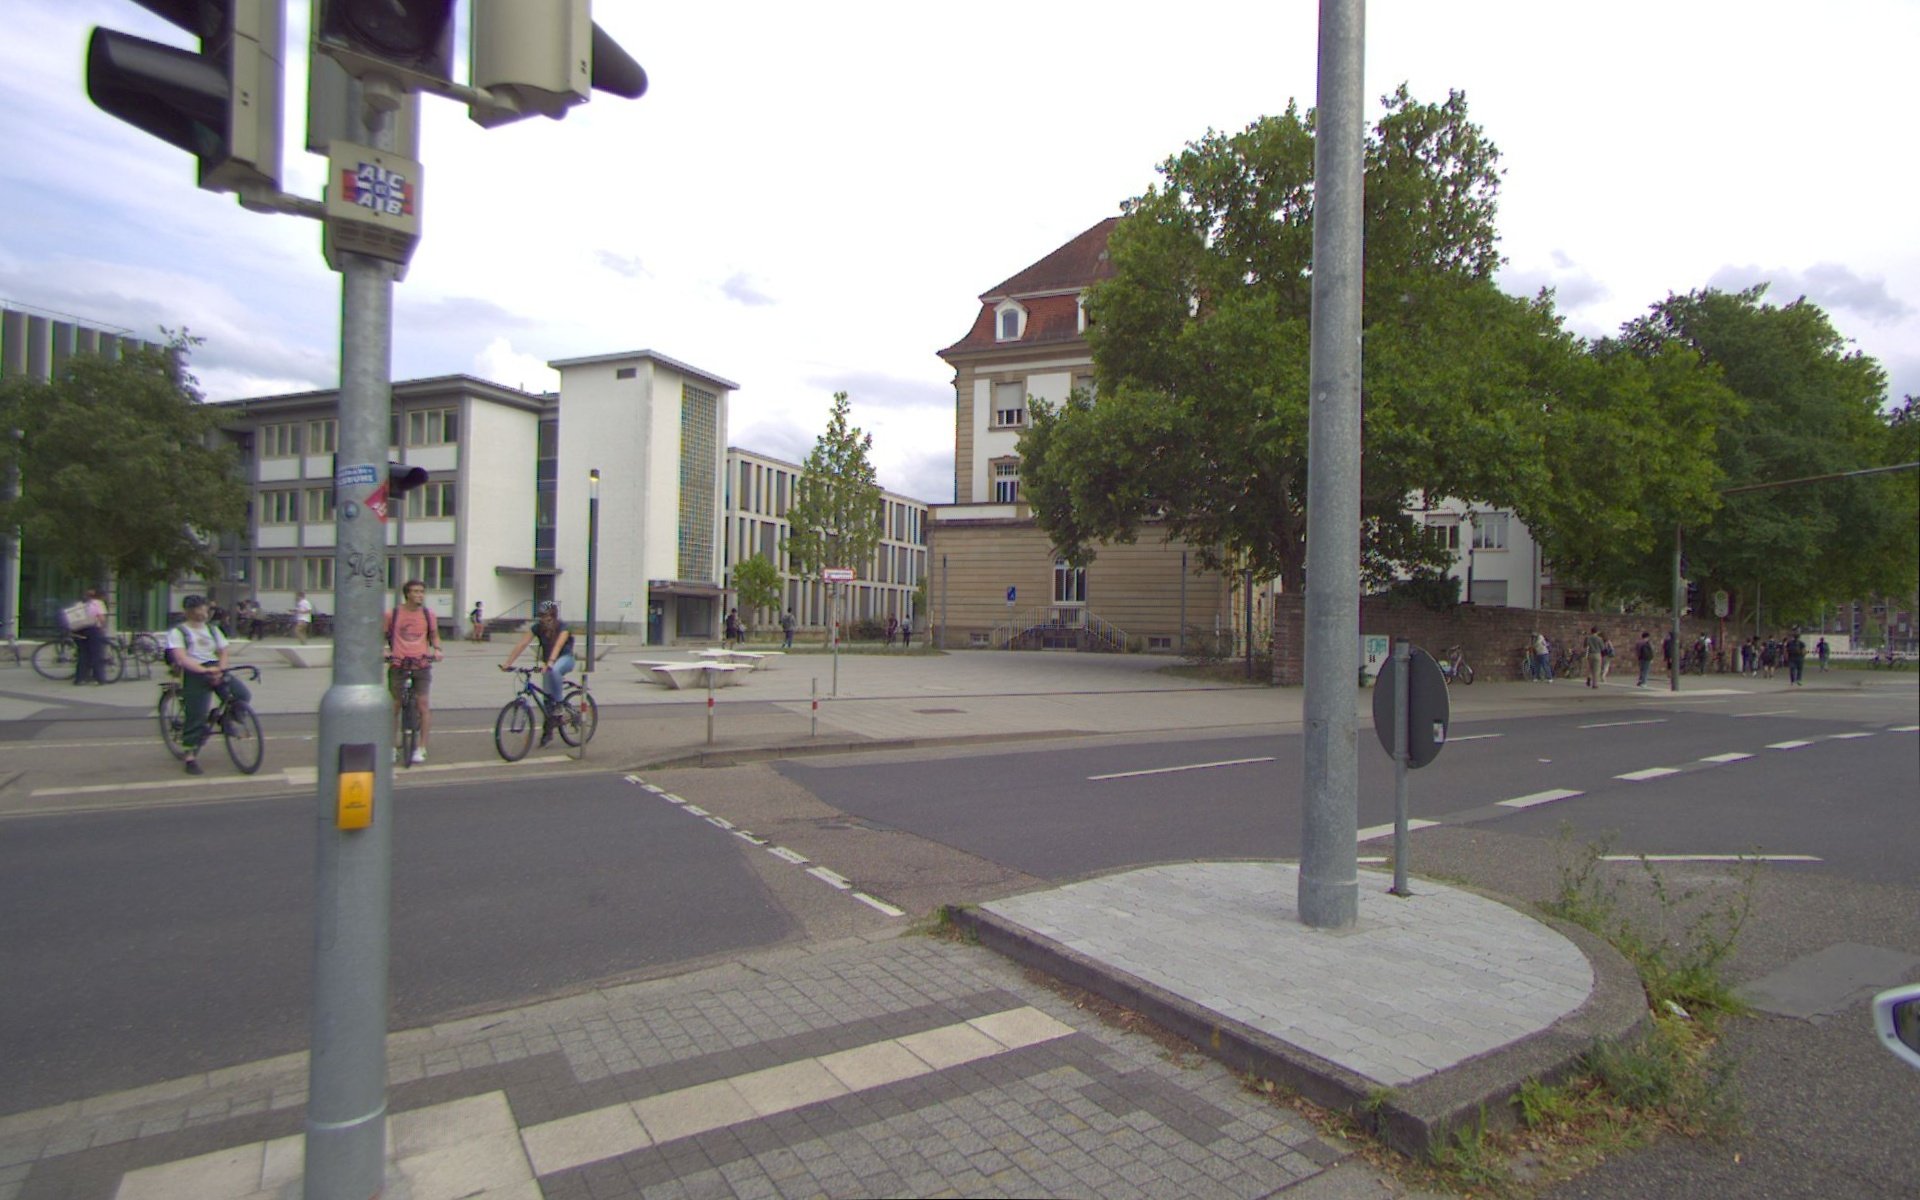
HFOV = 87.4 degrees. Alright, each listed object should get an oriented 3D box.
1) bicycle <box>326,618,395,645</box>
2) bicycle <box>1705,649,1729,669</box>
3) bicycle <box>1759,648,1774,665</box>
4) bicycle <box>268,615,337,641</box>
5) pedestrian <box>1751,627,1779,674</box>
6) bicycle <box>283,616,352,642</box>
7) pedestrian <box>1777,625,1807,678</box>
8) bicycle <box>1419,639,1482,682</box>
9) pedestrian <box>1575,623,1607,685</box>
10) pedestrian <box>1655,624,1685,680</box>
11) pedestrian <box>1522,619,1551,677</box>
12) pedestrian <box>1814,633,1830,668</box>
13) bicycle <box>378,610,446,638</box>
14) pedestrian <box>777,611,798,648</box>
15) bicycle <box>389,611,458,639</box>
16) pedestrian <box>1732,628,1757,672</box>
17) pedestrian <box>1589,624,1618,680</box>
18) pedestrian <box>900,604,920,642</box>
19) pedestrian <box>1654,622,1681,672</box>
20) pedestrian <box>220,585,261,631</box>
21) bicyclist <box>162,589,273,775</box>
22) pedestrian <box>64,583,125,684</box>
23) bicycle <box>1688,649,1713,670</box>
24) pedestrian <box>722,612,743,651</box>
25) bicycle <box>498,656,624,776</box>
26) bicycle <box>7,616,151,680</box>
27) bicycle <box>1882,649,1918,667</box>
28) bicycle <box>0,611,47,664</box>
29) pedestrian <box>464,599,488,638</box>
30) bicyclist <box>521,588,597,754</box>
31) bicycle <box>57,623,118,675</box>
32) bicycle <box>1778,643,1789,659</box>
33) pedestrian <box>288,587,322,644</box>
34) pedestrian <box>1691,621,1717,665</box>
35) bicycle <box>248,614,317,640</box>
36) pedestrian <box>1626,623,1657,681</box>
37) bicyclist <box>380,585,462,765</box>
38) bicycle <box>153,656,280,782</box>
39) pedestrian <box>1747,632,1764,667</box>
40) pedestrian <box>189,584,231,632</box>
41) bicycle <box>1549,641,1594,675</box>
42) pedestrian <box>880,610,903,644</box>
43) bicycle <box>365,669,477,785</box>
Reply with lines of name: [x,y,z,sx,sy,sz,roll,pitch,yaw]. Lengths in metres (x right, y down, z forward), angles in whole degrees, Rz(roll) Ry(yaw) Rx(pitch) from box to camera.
bicycle: [-26.597,1.390,44.623,0.732,1.149,2.672,1,-1,24]
bicycle: [32.939,2.554,43.697,1.606,0.807,0.437,1,2,-39]
bicycle: [40.621,2.827,50.586,0.436,0.838,1.611,3,0,43]
bicycle: [-30.139,1.282,46.101,0.732,1.149,2.672,1,-1,24]
pedestrian: [32.194,2.014,40.197,0.748,1.806,0.922,1,-2,32]
bicycle: [-29.061,1.313,45.476,0.732,1.149,2.672,1,-1,24]
pedestrian: [29.048,1.799,35.079,0.749,1.806,0.719,1,-2,38]
bicycle: [14.038,1.711,28.744,2.143,1.141,0.574,2,2,-34]
pedestrian: [18.968,1.617,30.220,0.733,1.806,0.783,1,-2,28]
pedestrian: [23.839,1.743,33.753,0.748,1.806,0.782,1,-2,33]
pedestrian: [18.346,1.537,31.985,0.733,1.806,0.783,1,-2,27]
pedestrian: [42.418,2.466,49.448,0.554,1.690,0.623,1,-2,44]
bicycle: [-23.576,1.020,43.263,0.732,1.149,2.672,1,-1,24]
pedestrian: [-7.386,1.247,43.002,0.726,1.569,0.699,2,-1,-26]
bicycle: [-22.645,1.044,42.445,0.732,1.149,2.672,1,-1,24]
pedestrian: [33.152,2.114,42.468,0.748,1.806,0.782,1,-2,33]
pedestrian: [21.377,1.732,33.390,0.747,1.806,0.783,1,-2,30]
pedestrian: [-2.769,1.263,55.661,0.778,2.040,0.836,1,-1,19]
pedestrian: [26.241,1.738,37.245,0.748,1.806,0.912,1,-2,32]
pedestrian: [-30.897,0.344,43.140,1.050,1.956,0.974,1,-1,25]
bicyclist: [-7.206,0.763,9.746,0.718,1.695,0.719,2,0,44]
pedestrian: [-14.000,0.541,16.263,0.567,1.602,0.648,1,-1,-27]
bicycle: [31.184,2.495,42.296,1.606,0.807,0.437,1,2,-39]
pedestrian: [-9.242,1.281,40.813,0.648,1.569,0.705,2,-1,-26]
bicycle: [-4.584,1.272,11.469,1.869,1.185,0.603,0,-1,44]
bicycle: [-14.664,0.796,16.776,1.727,1.012,0.437,1,-1,-29]
bicycle: [50.703,3.129,54.182,2.304,0.931,0.469,2,-1,-22]
bicycle: [-20.986,0.802,22.361,2.646,1.104,0.792,0,-1,44]
pedestrian: [-19.878,0.754,41.259,0.644,1.569,0.599,1,-1,10]
bicyclist: [-4.612,0.794,11.548,0.593,1.831,0.558,2,0,44]
bicycle: [-20.190,1.098,23.224,2.646,1.104,0.792,0,-1,44]
bicycle: [46.441,2.889,56.612,0.343,0.890,1.513,3,0,43]
pedestrian: [-20.815,0.489,31.943,0.584,1.802,0.637,1,-1,13]
pedestrian: [29.673,1.713,40.071,0.748,1.693,0.922,1,0,32]
bicycle: [-31.342,1.244,46.526,0.732,1.149,2.672,1,-1,24]
pedestrian: [21.603,1.640,31.844,0.748,1.806,0.782,1,-2,32]
bicyclist: [-5.726,0.776,10.669,0.593,1.831,0.558,2,0,44]
bicycle: [-7.305,1.108,9.835,1.798,1.002,0.724,2,0,45]
pedestrian: [37.531,2.358,47.396,0.579,1.613,0.732,1,-2,38]
pedestrian: [-31.040,0.325,41.572,1.050,1.956,0.974,1,-1,25]
bicycle: [20.523,1.934,33.697,1.962,1.072,0.545,2,2,-36]
pedestrian: [-4.109,1.609,60.425,0.899,2.040,1.232,1,-1,19]
bicycle: [-5.749,1.306,10.677,1.669,1.002,0.568,2,0,45]
